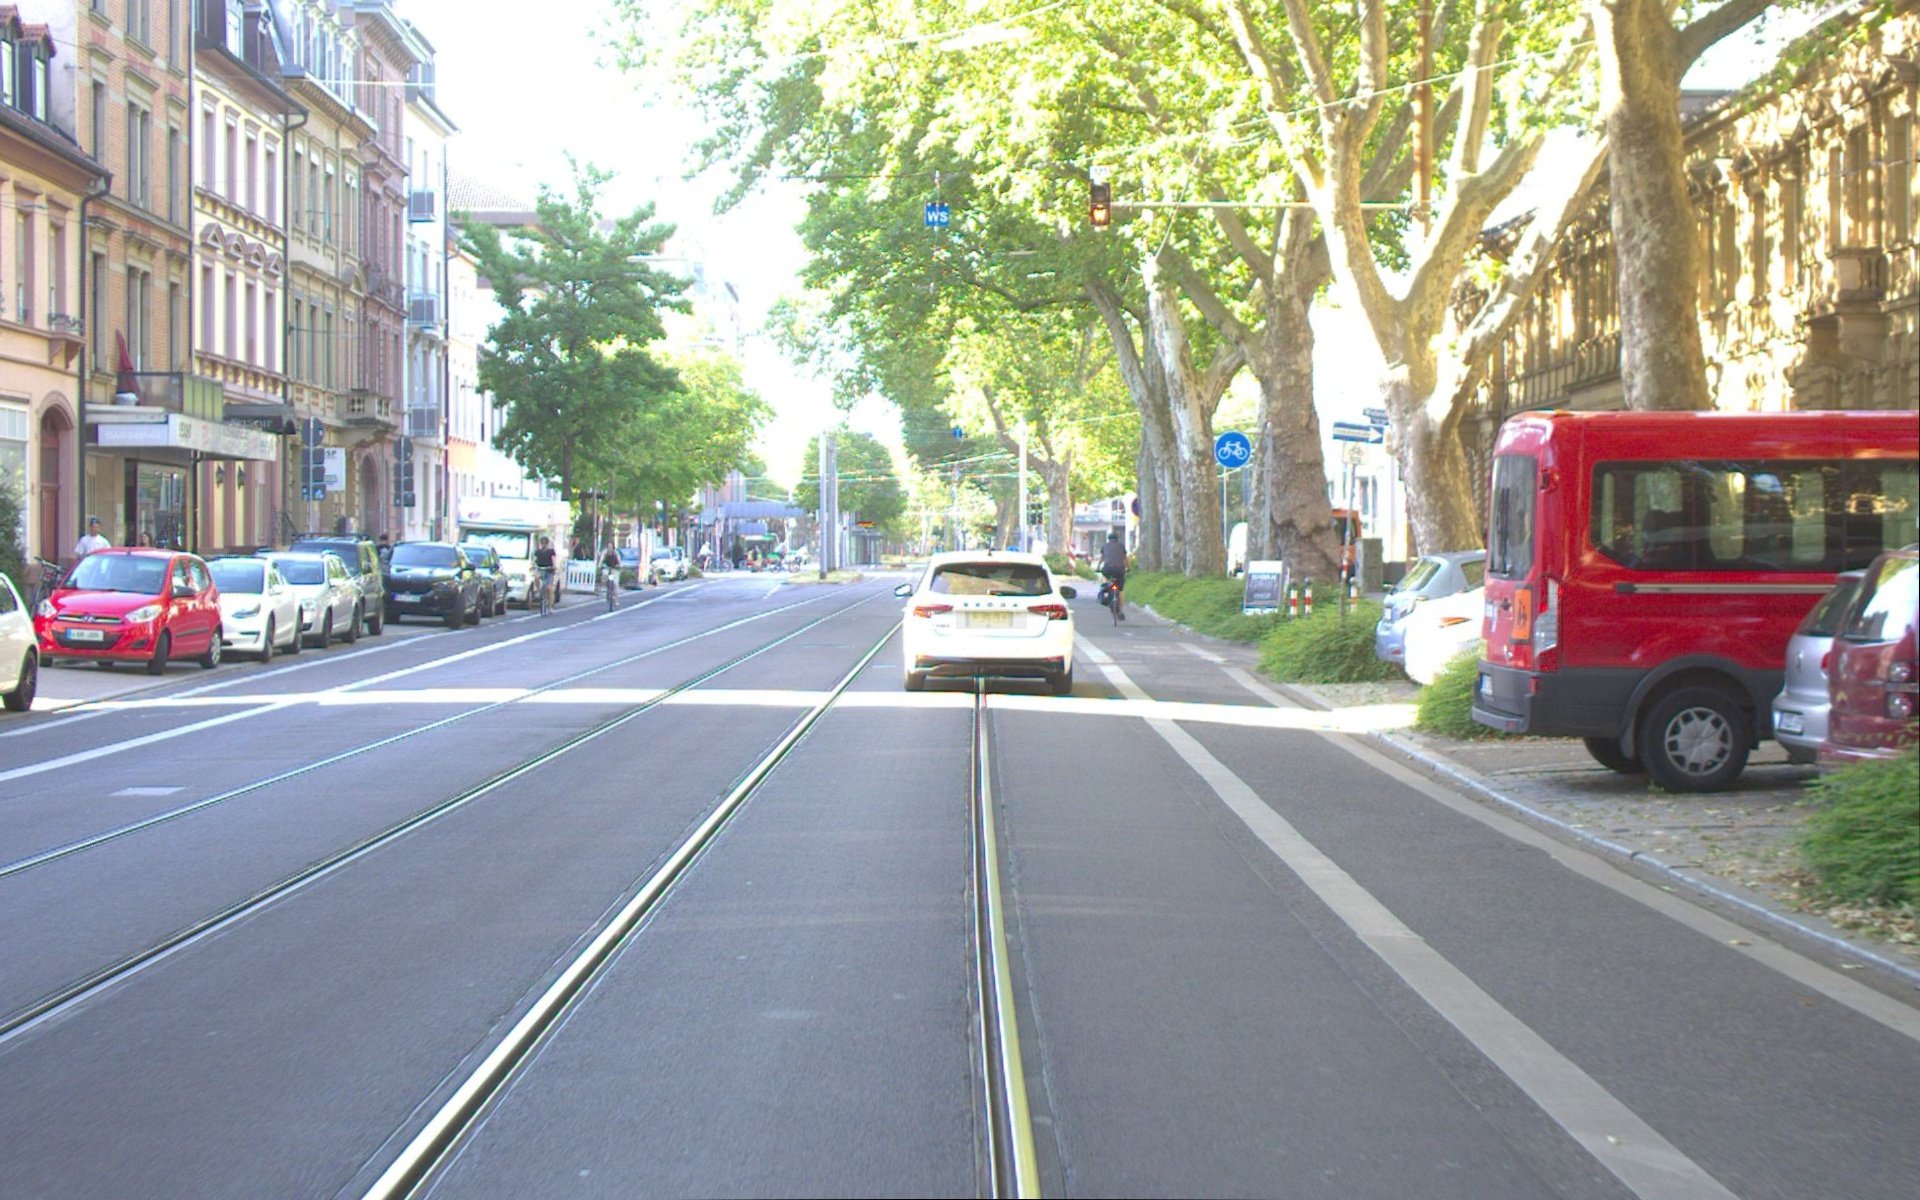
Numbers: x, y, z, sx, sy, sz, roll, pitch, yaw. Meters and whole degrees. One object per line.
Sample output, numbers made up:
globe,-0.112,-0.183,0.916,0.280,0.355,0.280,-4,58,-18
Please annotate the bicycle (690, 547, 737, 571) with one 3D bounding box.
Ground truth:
bicycle,-13.882,-2.312,193.874,2.680,1.323,0.615,-1,1,-35

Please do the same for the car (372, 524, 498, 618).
car,-10.764,-0.613,70.777,1.964,1.775,4.938,3,1,-2

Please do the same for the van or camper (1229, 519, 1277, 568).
van or camper,14.379,-2.750,168.903,1.993,2.335,4.000,1,1,0

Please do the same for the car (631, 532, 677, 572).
car,-13.538,-2.125,152.014,1.794,1.720,3.785,1,1,-2

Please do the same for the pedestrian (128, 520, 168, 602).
pedestrian,-14.625,-0.711,61.937,0.635,1.455,0.657,1,1,-17

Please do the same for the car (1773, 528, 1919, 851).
car,6.552,0.414,18.560,3.818,1.643,1.767,-2,0,-3

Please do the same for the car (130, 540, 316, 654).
car,-10.435,-0.075,48.958,1.827,1.497,4.689,1,1,-3

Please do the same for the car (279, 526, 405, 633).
car,-10.528,-0.370,58.741,1.555,1.726,3.686,1,1,-2

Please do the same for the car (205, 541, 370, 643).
car,-10.580,-0.160,54.373,1.827,1.497,4.450,1,1,-2

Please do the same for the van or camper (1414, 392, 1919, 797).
van or camper,6.190,-0.117,23.254,5.814,2.510,2.288,-2,2,-2

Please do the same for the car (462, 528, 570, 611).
car,-9.992,-0.711,77.651,1.964,1.775,4.471,1,1,-2

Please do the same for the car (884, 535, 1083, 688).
car,0.189,0.086,35.814,1.842,1.475,3.839,1,1,-3

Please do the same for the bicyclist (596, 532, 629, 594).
bicyclist,-8.428,-0.896,83.380,0.638,1.498,1.070,-1,1,1

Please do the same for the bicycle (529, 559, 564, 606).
bicycle,-9.480,-0.402,78.838,0.484,1.044,2.039,-2,1,1

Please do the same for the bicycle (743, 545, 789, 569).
bicycle,-11.057,-2.459,195.661,2.680,1.323,0.615,-1,1,-35

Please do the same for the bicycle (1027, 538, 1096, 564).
bicycle,4.189,-2.010,142.087,2.771,0.996,0.592,2,1,14

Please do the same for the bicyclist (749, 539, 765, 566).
bicyclist,-11.537,-2.728,195.310,0.631,1.517,0.610,-1,2,-35

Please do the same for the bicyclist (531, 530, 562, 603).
bicyclist,-9.488,-0.771,78.969,0.535,1.629,0.896,-2,1,1

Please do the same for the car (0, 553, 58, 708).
car,-10.151,0.287,33.382,1.687,1.472,4.258,1,1,-1

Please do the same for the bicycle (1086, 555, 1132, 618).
bicycle,2.805,-0.267,64.828,0.680,1.151,2.964,1,1,-1

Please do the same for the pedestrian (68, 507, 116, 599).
pedestrian,-15.553,-0.840,61.585,0.771,1.628,0.657,1,1,-16

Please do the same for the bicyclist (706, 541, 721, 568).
bicyclist,-13.910,-2.585,193.857,0.631,1.517,0.610,-1,2,-35

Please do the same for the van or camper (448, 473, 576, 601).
van or camper,-11.484,-1.614,88.605,2.216,3.129,7.113,1,1,1

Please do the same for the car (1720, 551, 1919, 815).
car,6.762,0.459,21.189,3.733,1.524,1.669,-1,1,-3

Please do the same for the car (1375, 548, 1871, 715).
car,6.138,0.272,32.167,4.286,1.412,1.760,-1,1,1

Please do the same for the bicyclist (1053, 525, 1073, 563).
bicyclist,4.243,-2.313,142.063,0.737,1.583,0.586,0,1,12

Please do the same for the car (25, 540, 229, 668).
car,-10.508,0.019,43.560,1.569,1.557,3.448,0,1,3

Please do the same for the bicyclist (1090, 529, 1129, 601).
bicyclist,2.810,-0.668,64.804,0.679,1.334,0.525,1,1,-1

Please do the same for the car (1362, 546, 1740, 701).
car,6.359,0.239,37.238,3.751,1.503,1.681,2,1,0

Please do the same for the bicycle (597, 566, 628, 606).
bicycle,-8.418,-0.348,83.246,0.499,0.940,1.921,-2,1,1

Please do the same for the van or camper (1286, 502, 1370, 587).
van or camper,11.025,-1.653,103.369,2.027,2.455,5.108,1,1,1
